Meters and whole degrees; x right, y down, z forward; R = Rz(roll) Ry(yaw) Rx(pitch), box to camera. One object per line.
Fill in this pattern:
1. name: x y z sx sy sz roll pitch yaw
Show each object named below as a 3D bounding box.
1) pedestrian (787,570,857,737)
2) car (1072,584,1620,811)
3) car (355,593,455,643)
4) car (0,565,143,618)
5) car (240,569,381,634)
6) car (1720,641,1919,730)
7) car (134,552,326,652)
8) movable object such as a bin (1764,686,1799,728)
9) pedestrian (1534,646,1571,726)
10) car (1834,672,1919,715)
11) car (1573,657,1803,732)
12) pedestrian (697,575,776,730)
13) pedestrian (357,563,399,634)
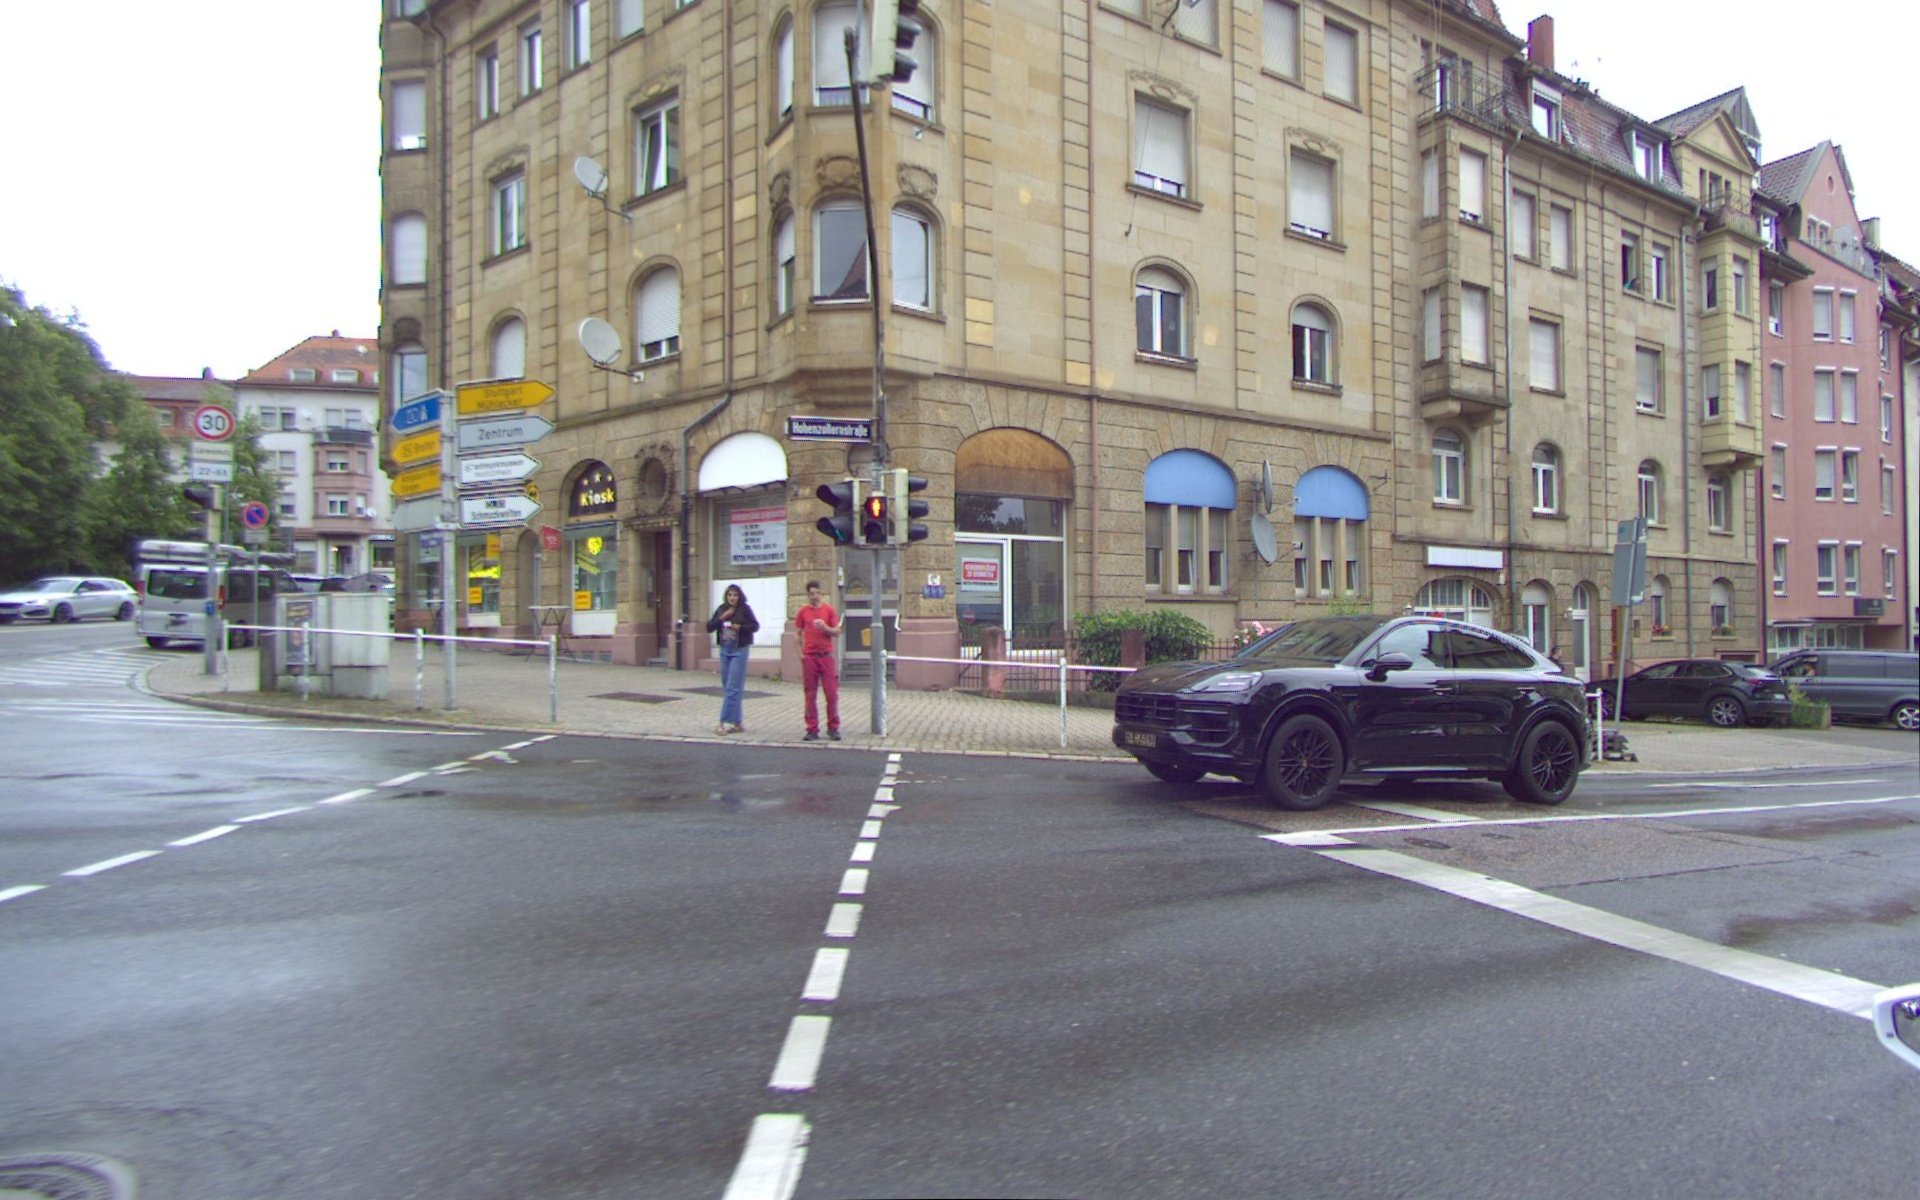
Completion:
1. pedestrian: -1.546 0.591 11.199 0.681 1.797 0.523 2 0 -12
2. car: 3.626 0.894 9.419 4.739 1.715 1.961 3 -3 -22
3. car: -20.382 0.668 37.085 1.965 1.727 4.207 1 -1 -11
4. car: -27.885 -0.221 31.339 1.706 1.558 4.296 0 -1 -8
5. car: -19.193 0.084 29.931 1.965 1.726 4.372 2 -1 -11
6. car: 22.583 2.131 25.767 1.848 1.964 4.636 2 -1 -39
7. car: -18.051 0.086 25.180 1.965 2.197 4.794 2 -1 -11
8. movable object such as a bin: 19.641 2.552 24.030 0.435 0.963 0.503 2 -1 -25
9. pedestrian: 13.685 1.985 23.209 0.557 1.800 0.476 2 0 -22
10. car: 32.872 3.188 34.097 1.747 1.419 4.527 2 -4 -30
11. car: 17.426 2.194 24.239 1.851 1.530 4.128 2 -2 -30
12. pedestrian: -2.573 0.599 11.550 0.815 1.724 0.637 2 0 -14
13. pedestrian: -14.322 -0.030 24.710 0.776 1.683 0.663 2 -1 -36
